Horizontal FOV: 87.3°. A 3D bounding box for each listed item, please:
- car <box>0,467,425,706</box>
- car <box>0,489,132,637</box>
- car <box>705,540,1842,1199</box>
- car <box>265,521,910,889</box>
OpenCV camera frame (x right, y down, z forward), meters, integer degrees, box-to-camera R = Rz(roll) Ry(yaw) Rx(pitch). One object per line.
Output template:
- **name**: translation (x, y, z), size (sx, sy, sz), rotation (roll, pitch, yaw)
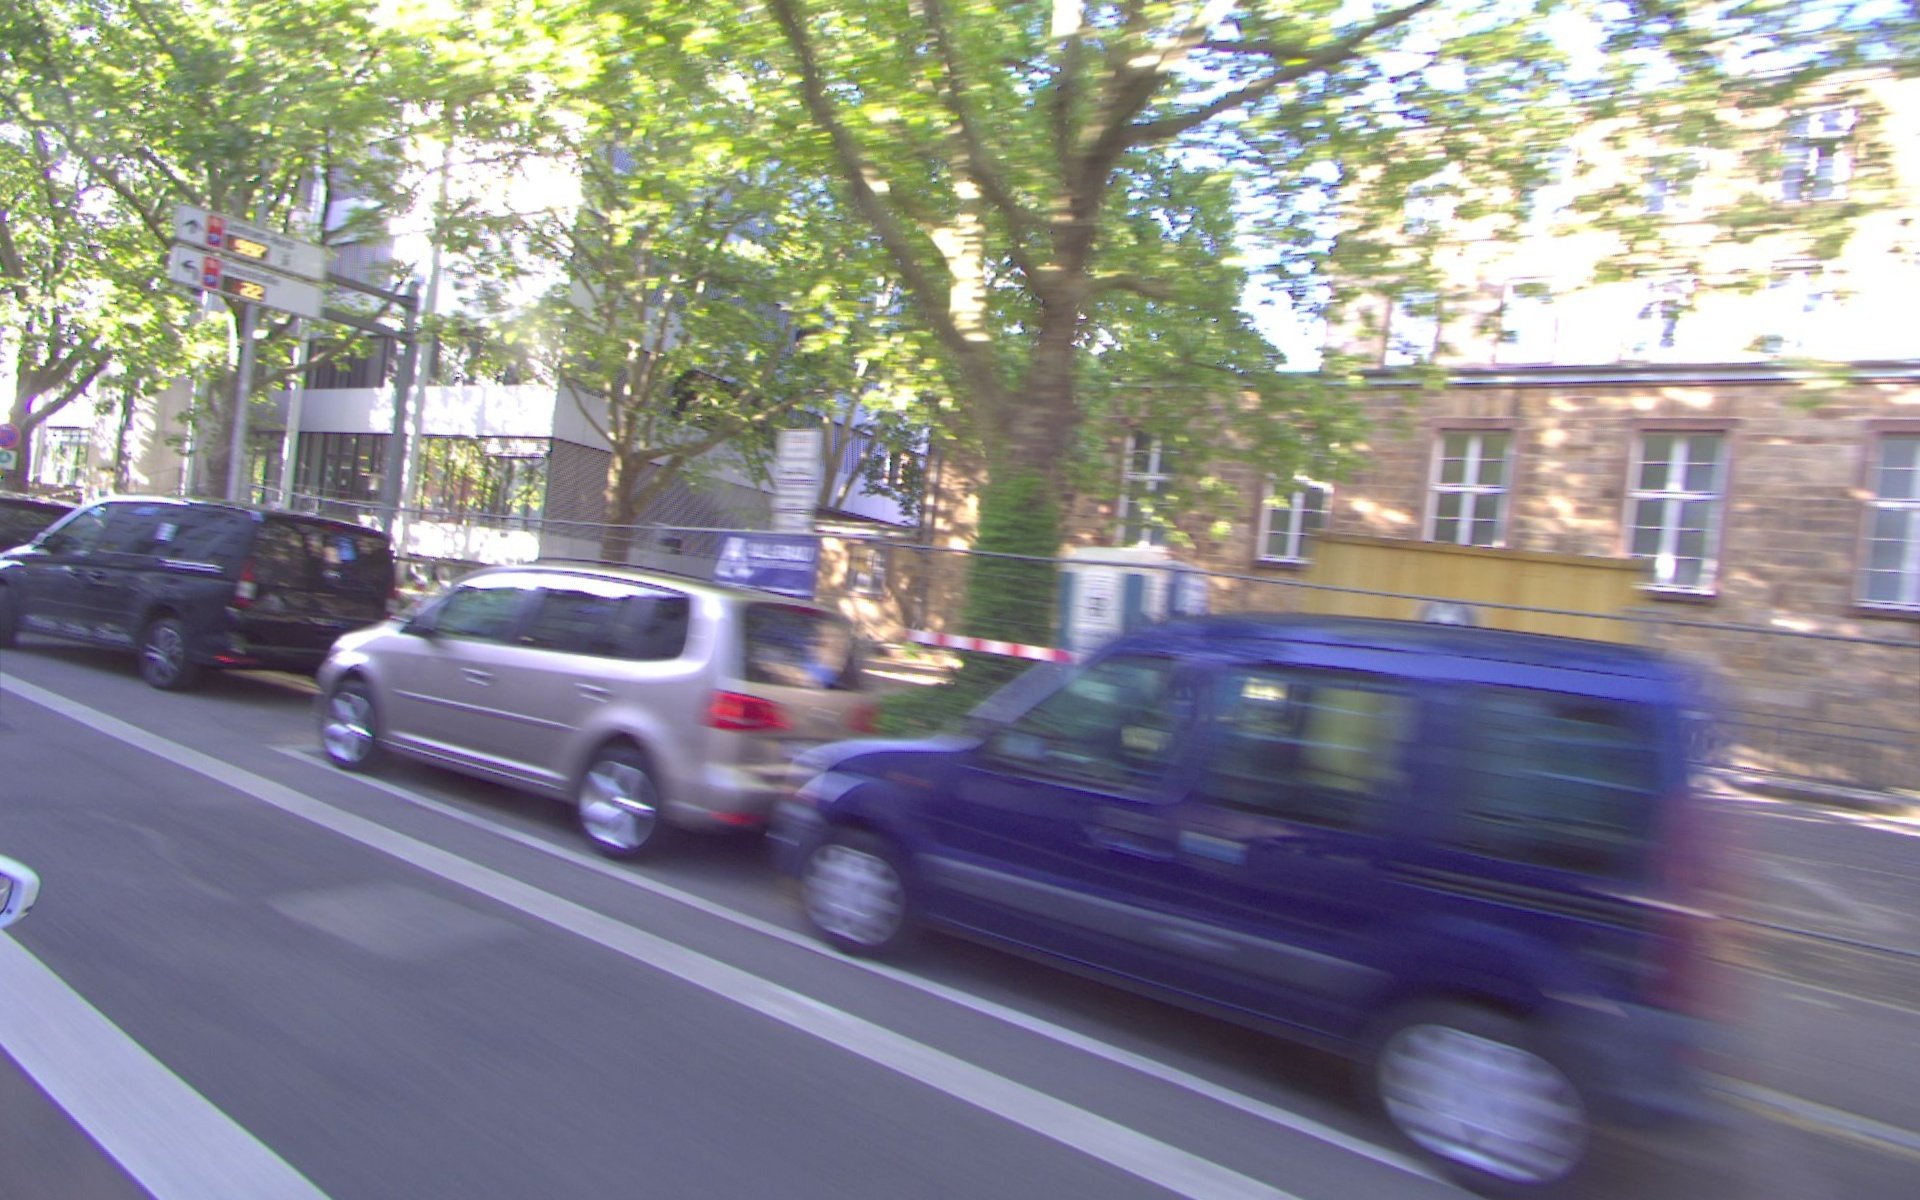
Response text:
- **car**: translation (-8.266, -0.184, 10.621), size (4.810, 1.862, 1.832), rotation (7, -2, 23)
- **car**: translation (-13.162, -0.672, 13.304), size (4.542, 1.646, 1.781), rotation (7, -2, 30)
- **car**: translation (1.017, 0.908, 4.532), size (4.062, 1.833, 1.696), rotation (7, -2, 33)
- **car**: translation (-2.684, 0.554, 7.014), size (4.256, 1.646, 1.698), rotation (7, -2, 29)
